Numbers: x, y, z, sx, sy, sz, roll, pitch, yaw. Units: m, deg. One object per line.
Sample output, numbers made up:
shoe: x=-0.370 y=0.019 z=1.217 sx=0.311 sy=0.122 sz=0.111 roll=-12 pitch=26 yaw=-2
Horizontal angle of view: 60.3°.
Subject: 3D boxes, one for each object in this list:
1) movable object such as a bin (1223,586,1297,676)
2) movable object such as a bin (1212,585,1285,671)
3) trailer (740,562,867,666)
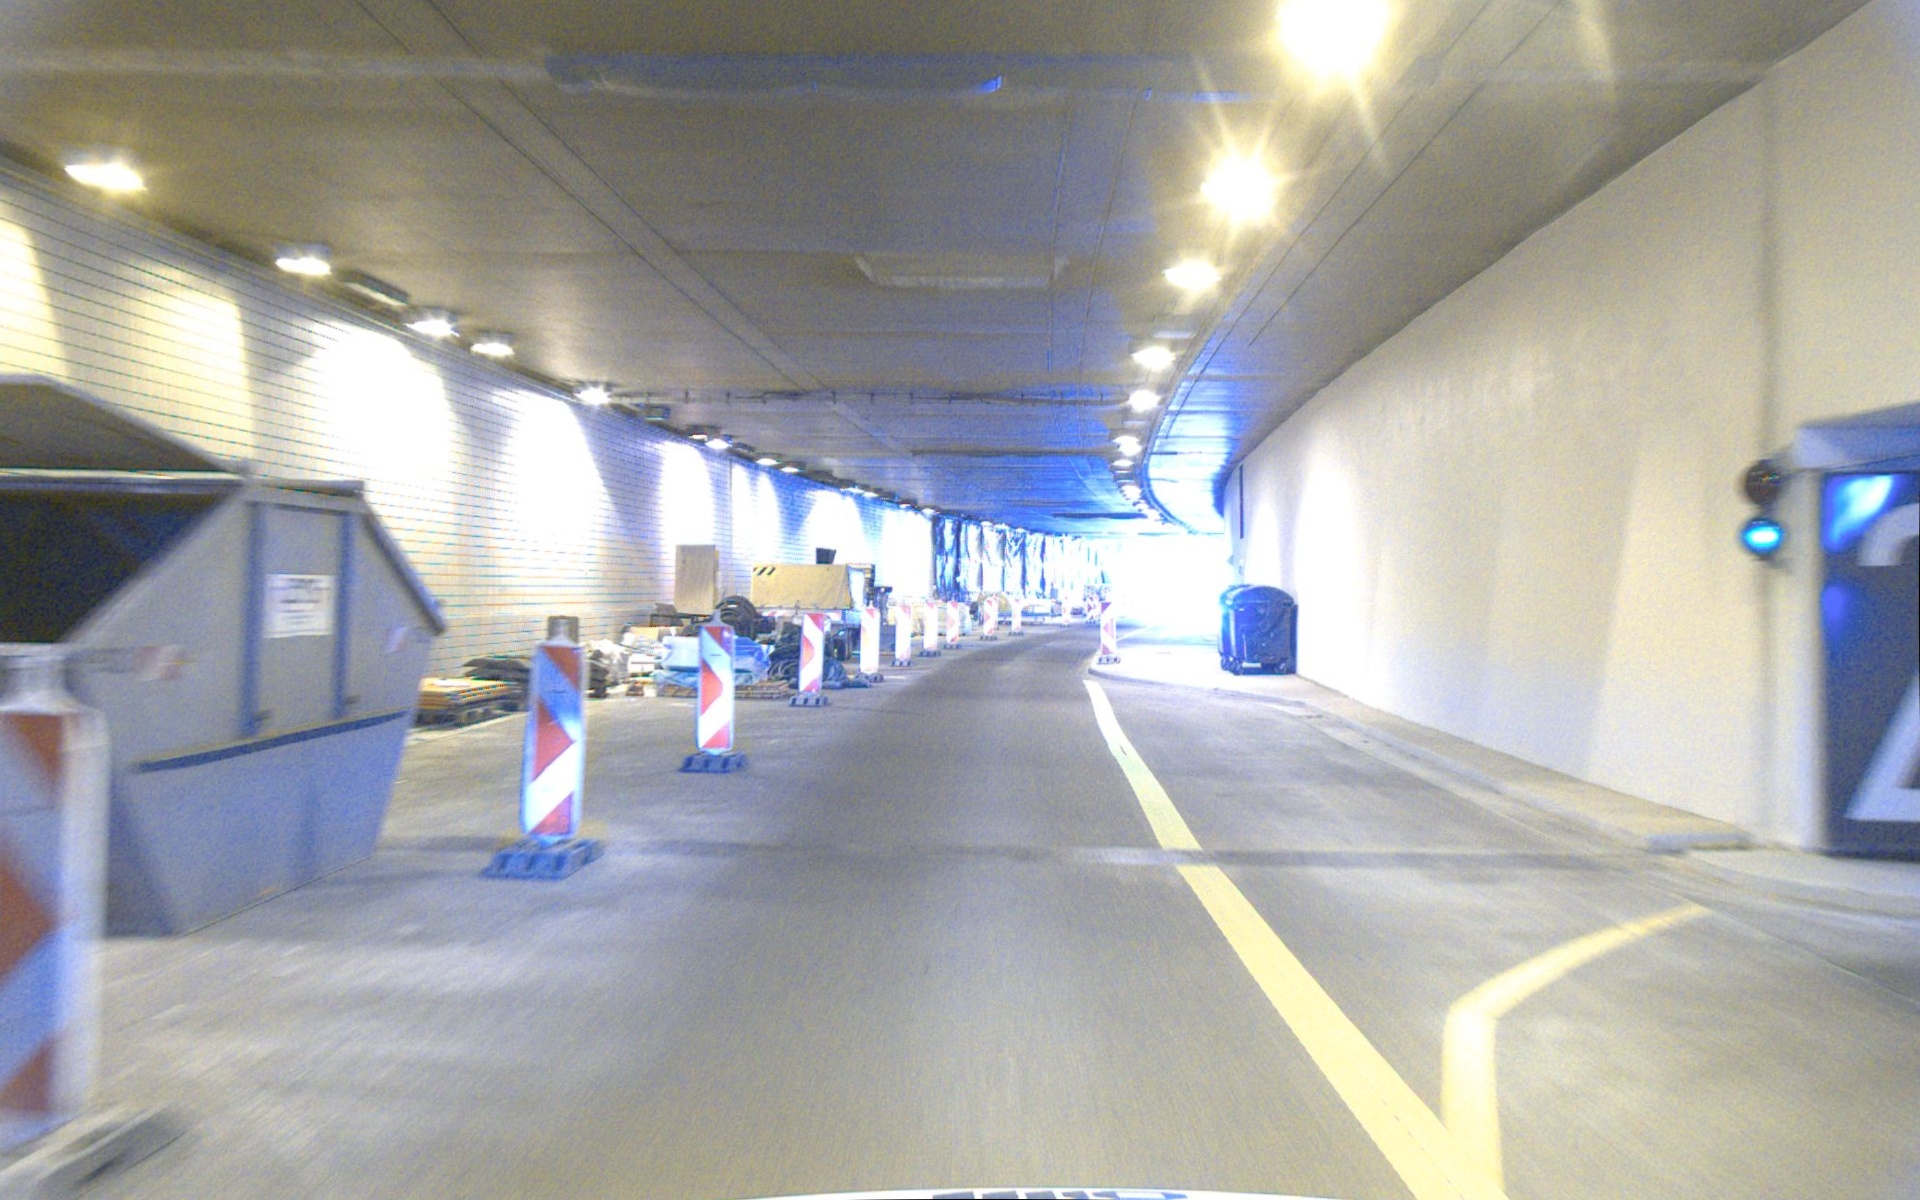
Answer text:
movable object such as a bin: x=5.031 y=0.514 z=27.815 sx=1.074 sy=1.470 sz=1.322 roll=1 pitch=0 yaw=4
movable object such as a bin: x=5.081 y=0.481 z=29.195 sx=1.121 sy=1.470 sz=1.364 roll=1 pitch=0 yaw=4
trailer: x=-3.217 y=0.274 z=34.698 sx=2.162 sy=2.049 sz=3.467 roll=1 pitch=0 yaw=2
